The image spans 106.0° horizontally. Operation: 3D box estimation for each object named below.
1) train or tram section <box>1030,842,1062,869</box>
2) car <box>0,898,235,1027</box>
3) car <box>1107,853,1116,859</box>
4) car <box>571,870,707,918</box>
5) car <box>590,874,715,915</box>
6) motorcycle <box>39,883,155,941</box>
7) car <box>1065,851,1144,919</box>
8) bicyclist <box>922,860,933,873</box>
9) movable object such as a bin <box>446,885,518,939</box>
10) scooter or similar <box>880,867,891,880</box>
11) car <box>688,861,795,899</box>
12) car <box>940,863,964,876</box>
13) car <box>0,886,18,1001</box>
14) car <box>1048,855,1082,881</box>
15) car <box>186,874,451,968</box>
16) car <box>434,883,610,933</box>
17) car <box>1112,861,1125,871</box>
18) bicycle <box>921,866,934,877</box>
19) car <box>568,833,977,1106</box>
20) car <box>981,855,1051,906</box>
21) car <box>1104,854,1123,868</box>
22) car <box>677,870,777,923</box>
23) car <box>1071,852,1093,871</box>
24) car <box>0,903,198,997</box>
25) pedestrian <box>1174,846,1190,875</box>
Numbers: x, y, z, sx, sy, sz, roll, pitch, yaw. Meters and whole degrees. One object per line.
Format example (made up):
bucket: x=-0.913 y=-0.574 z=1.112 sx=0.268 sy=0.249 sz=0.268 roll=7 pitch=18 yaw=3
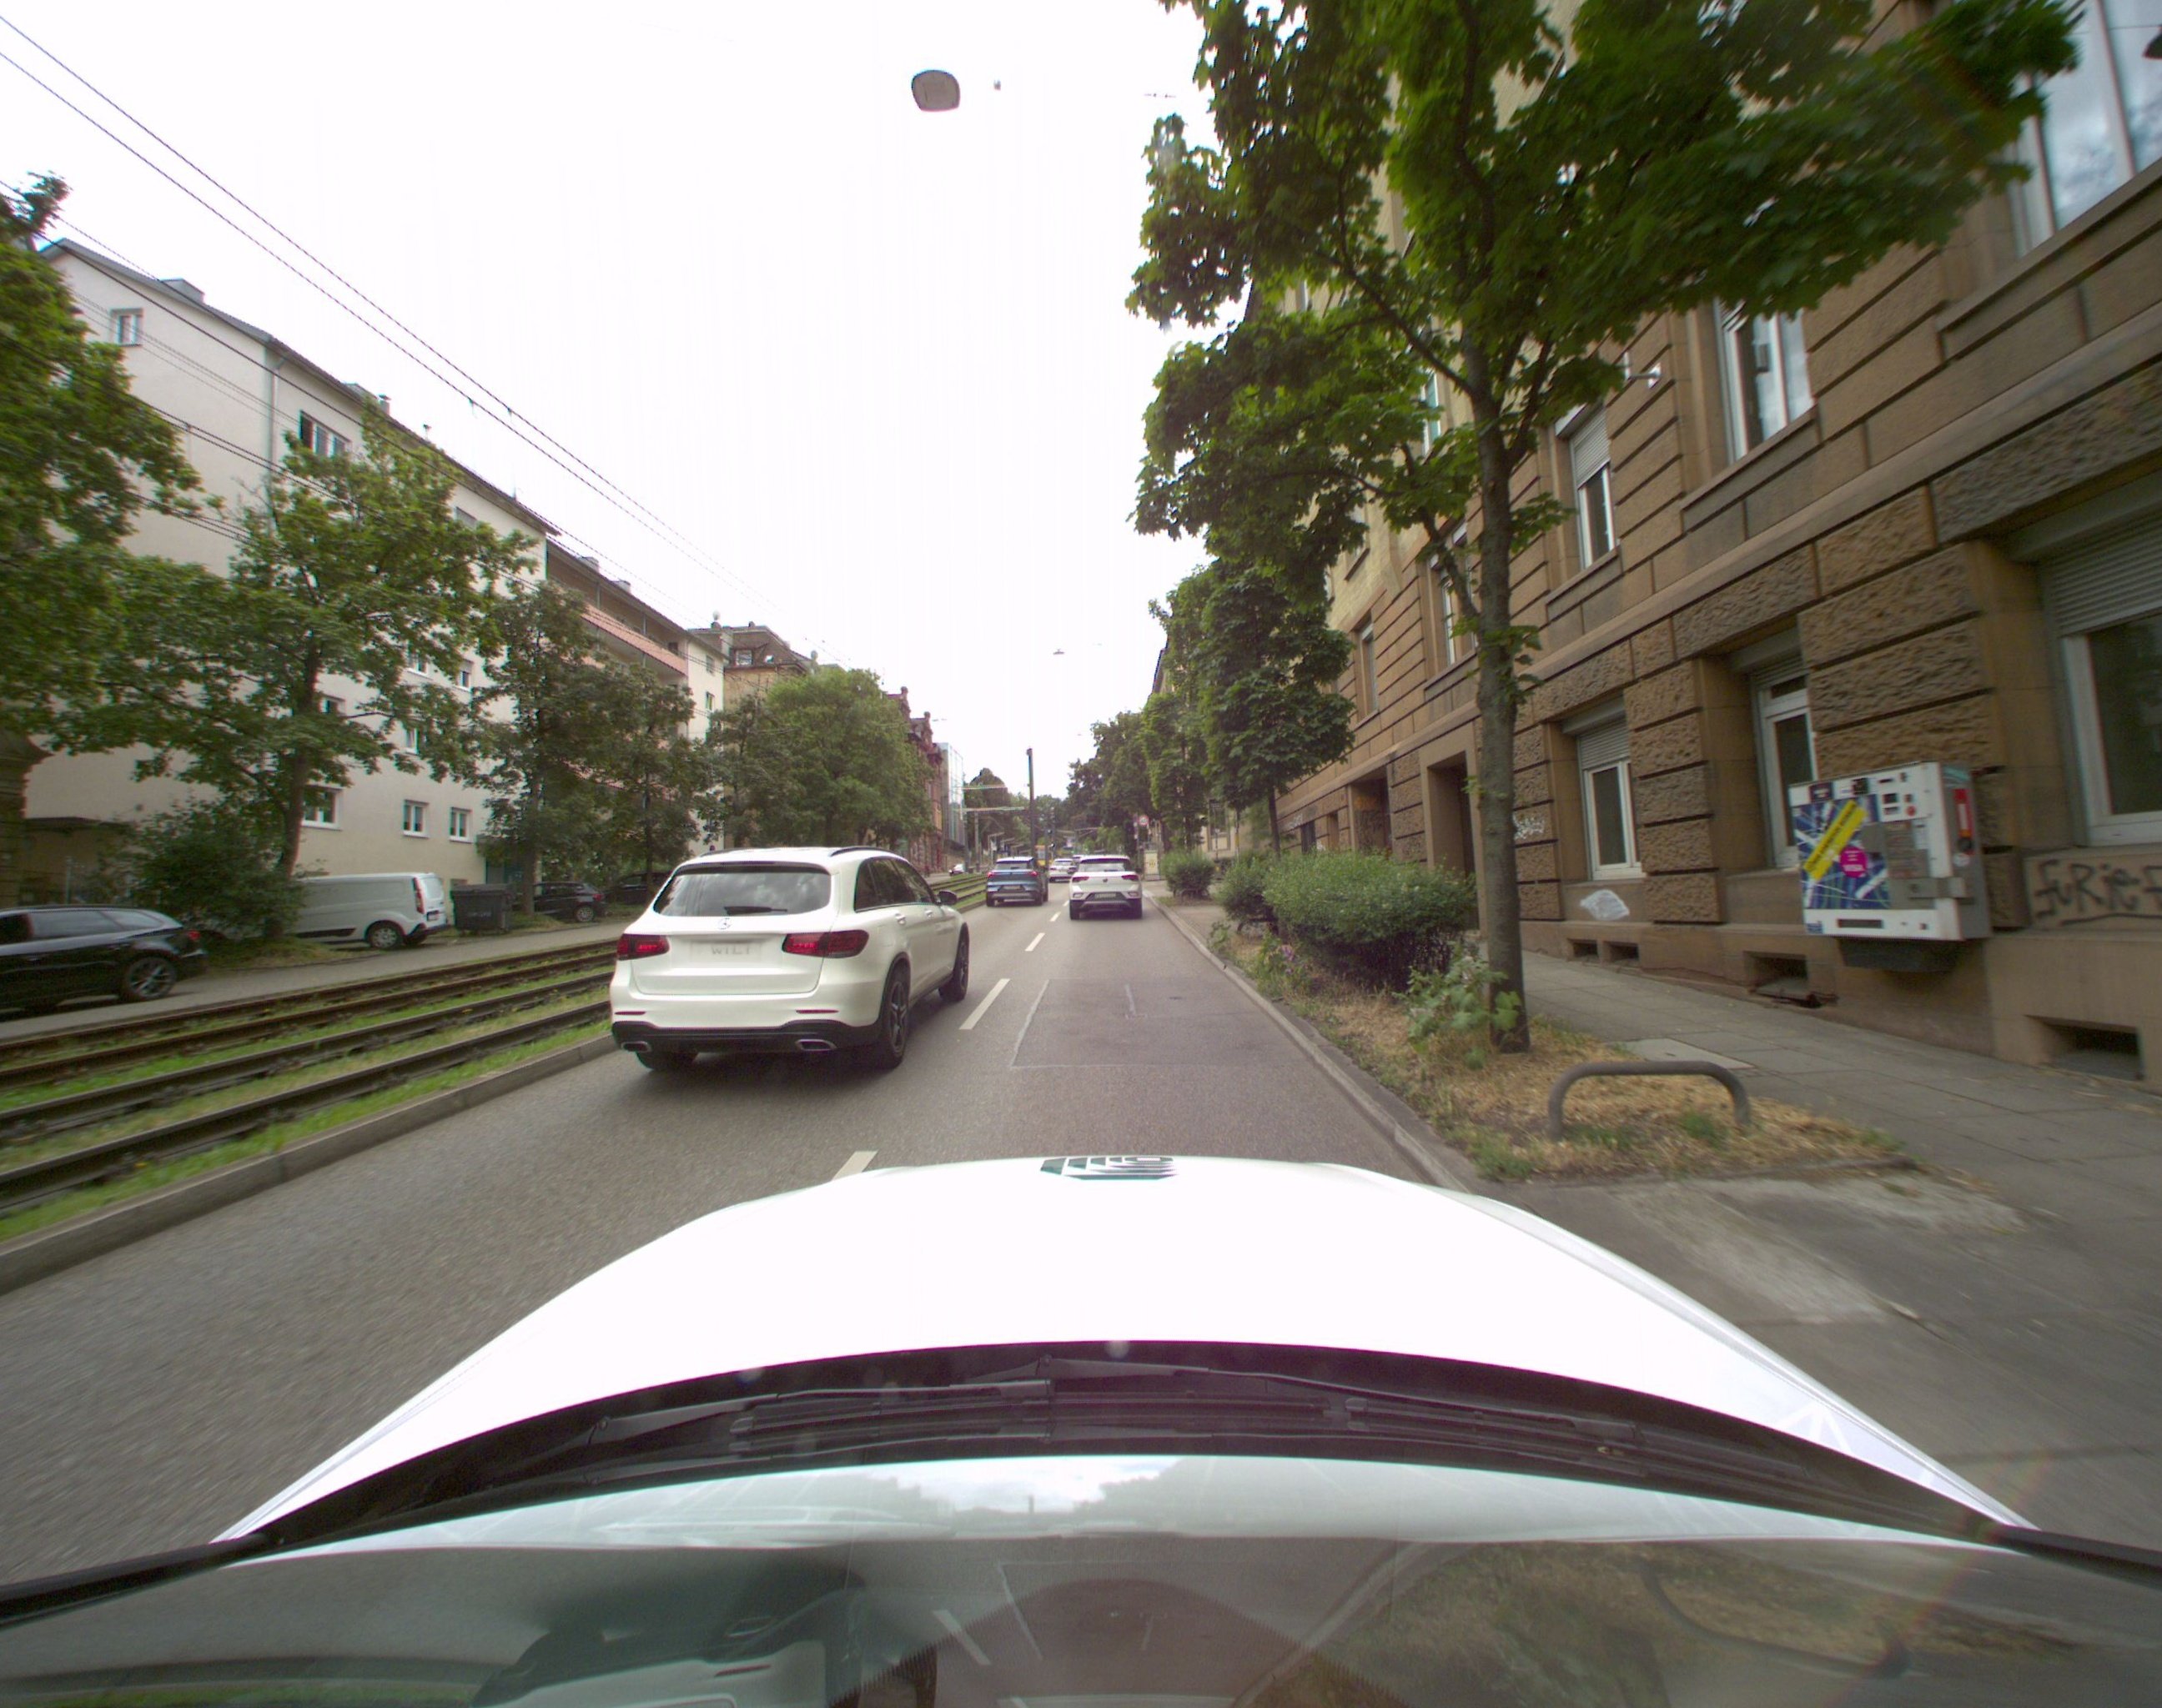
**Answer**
train or tram section: x=-4.645 y=0.286 z=111.795 sx=2.984 sy=3.349 sz=13.447 roll=-2 pitch=-1 yaw=3
car: x=-14.090 y=1.466 z=10.332 sx=1.859 sy=1.435 sz=4.494 roll=-5 pitch=-1 yaw=1
car: x=7.114 y=0.477 z=188.637 sx=2.060 sy=1.546 sz=4.195 roll=-1 pitch=0 yaw=2
car: x=-17.539 y=1.534 z=32.385 sx=4.623 sy=1.682 sz=1.917 roll=0 pitch=-1 yaw=-32
car: x=-18.362 y=1.669 z=34.931 sx=4.623 sy=1.548 sz=1.917 roll=0 pitch=-1 yaw=-32
motorcycle: x=-26.077 y=1.530 z=21.606 sx=2.167 sy=1.417 sz=0.769 roll=-2 pitch=0 yaw=3
car: x=0.582 y=0.736 z=21.132 sx=1.829 sy=1.546 sz=4.193 roll=-1 pitch=0 yaw=1
bicyclist: x=-17.788 y=1.473 z=94.228 sx=0.935 sy=1.425 sz=1.188 roll=-2 pitch=0 yaw=1
movable object such as a bin: x=-16.604 y=1.580 z=22.626 sx=1.276 sy=1.401 sz=1.091 roll=-1 pitch=-1 yaw=-14
scooter or similar: x=-20.226 y=2.040 z=84.276 sx=0.627 sy=1.255 sz=2.214 roll=-2 pitch=0 yaw=-1
car: x=-17.168 y=1.284 z=41.327 sx=1.912 sy=1.797 sz=4.634 roll=-1 pitch=-1 yaw=45
car: x=-14.784 y=1.769 z=93.528 sx=1.985 sy=1.403 sz=4.002 roll=-2 pitch=-1 yaw=3
car: x=-18.219 y=1.446 z=11.028 sx=4.203 sy=1.767 sz=1.854 roll=-2 pitch=0 yaw=-29
car: x=-0.964 y=0.859 z=51.175 sx=1.828 sy=1.546 sz=4.195 roll=-1 pitch=0 yaw=2
car: x=-17.950 y=1.496 z=19.473 sx=4.199 sy=1.836 sz=1.856 roll=-2 pitch=0 yaw=-26
car: x=-18.128 y=1.705 z=26.716 sx=4.623 sy=1.344 sz=1.917 roll=0 pitch=-1 yaw=-32
car: x=6.179 y=2.005 z=133.038 sx=2.060 sy=1.546 sz=4.195 roll=-1 pitch=0 yaw=2
bicycle: x=-17.765 y=2.030 z=94.179 sx=0.935 sy=1.100 sz=2.703 roll=-2 pitch=0 yaw=2
car: x=-2.217 y=0.732 z=7.394 sx=1.829 sy=1.667 sz=4.671 roll=-1 pitch=0 yaw=1
car: x=-2.084 y=0.823 z=27.145 sx=1.828 sy=1.546 sz=4.195 roll=-1 pitch=0 yaw=2
car: x=3.612 y=0.814 z=91.676 sx=2.060 sy=1.546 sz=4.195 roll=-1 pitch=0 yaw=2
car: x=-11.308 y=1.304 z=26.239 sx=1.582 sy=1.435 sz=3.413 roll=-4 pitch=0 yaw=1
car: x=0.109 y=0.650 z=71.952 sx=1.828 sy=1.546 sz=4.195 roll=-1 pitch=0 yaw=2
car: x=-18.209 y=1.660 z=13.644 sx=4.203 sy=1.339 sz=1.854 roll=-2 pitch=0 yaw=-29
pedestrian: x=5.899 y=0.357 z=47.581 sx=0.705 sy=1.662 sz=1.131 roll=-3 pitch=0 yaw=13
